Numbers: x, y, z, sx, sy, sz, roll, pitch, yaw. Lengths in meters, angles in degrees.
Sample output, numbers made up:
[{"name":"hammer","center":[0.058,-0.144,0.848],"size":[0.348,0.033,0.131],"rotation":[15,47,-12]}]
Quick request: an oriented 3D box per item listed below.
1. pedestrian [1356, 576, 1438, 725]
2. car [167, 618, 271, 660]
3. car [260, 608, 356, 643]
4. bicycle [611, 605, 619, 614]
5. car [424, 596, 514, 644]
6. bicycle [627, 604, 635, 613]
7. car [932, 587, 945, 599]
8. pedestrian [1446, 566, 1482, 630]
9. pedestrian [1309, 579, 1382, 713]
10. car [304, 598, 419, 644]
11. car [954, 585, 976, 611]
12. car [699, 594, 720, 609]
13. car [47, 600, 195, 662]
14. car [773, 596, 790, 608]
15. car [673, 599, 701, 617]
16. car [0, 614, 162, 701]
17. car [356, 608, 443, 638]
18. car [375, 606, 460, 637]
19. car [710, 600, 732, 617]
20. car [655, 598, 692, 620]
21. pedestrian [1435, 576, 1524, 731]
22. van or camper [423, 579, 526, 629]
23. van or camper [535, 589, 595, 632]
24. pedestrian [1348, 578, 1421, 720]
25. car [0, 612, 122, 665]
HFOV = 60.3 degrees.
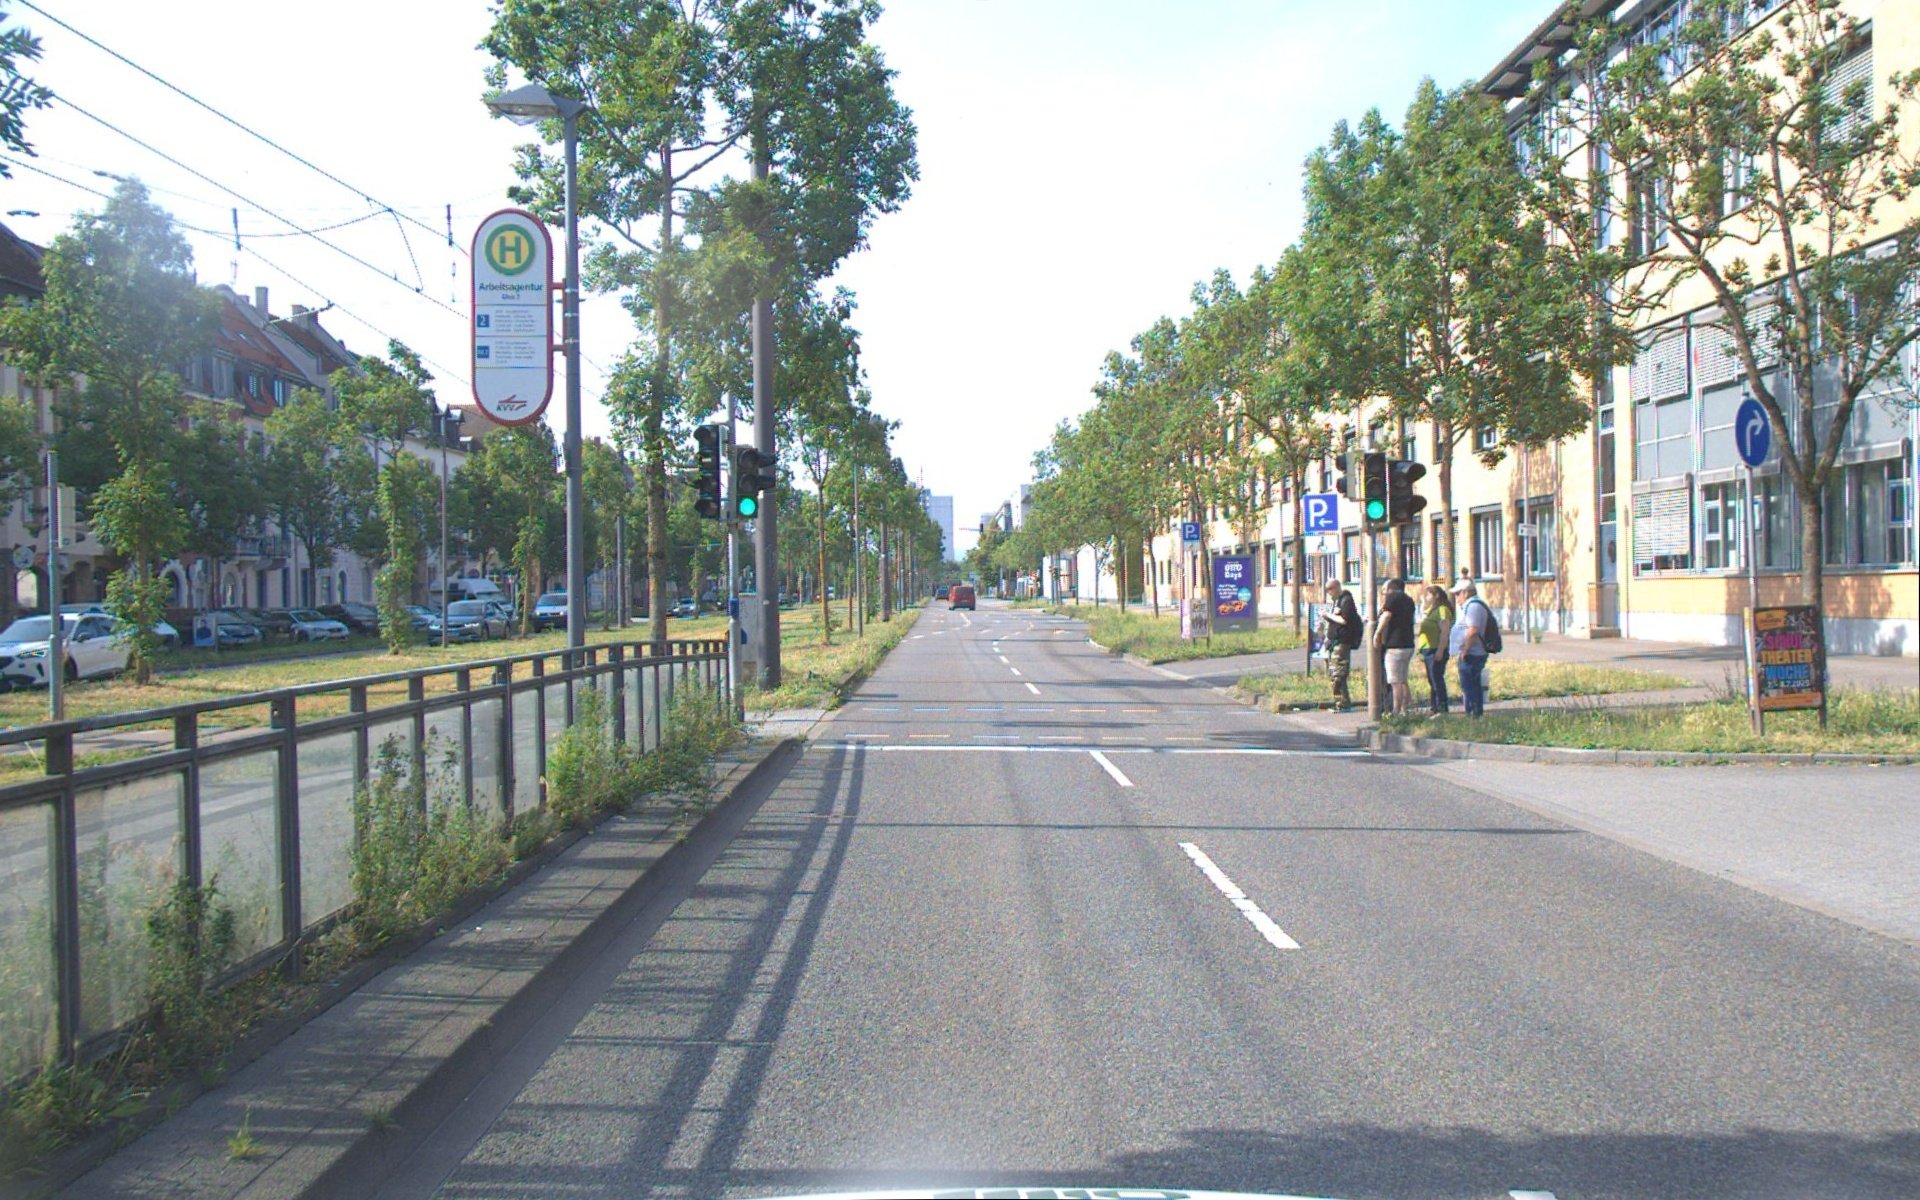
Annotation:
[{"name":"pedestrian","center":[5.123,0.581,19.419],"size":[0.691,1.675,0.689],"rotation":[-3,0,-3]},{"name":"car","center":[-25.234,1.323,56.323],"size":[3.610,1.263,1.522],"rotation":[1,2,33]},{"name":"car","center":[-24.814,0.954,62.905],"size":[3.610,1.263,1.657],"rotation":[1,0,34]},{"name":"bicycle","center":[-31.921,0.842,153.038],"size":[0.428,0.803,1.946],"rotation":[1,0,-2]},{"name":"car","center":[-17.082,0.685,57.734],"size":[1.797,1.560,4.576],"rotation":[1,0,-1]},{"name":"bicycle","center":[-31.781,0.840,159.682],"size":[0.438,0.872,1.946],"rotation":[1,0,-2]},{"name":"car","center":[-2.767,-0.852,213.889],"size":[1.713,1.531,3.215],"rotation":[1,0,-1]},{"name":"pedestrian","center":[13.364,-0.050,43.858],"size":[0.682,1.685,0.773],"rotation":[1,-1,-1]},{"name":"pedestrian","center":[5.017,0.588,21.559],"size":[0.691,1.675,0.689],"rotation":[-3,0,-3]},{"name":"car","center":[-25.258,0.892,69.805],"size":[4.540,1.773,1.833],"rotation":[-2,0,24]},{"name":"car","center":[0.390,-0.143,129.845],"size":[1.712,2.049,3.215],"rotation":[1,0,0]},{"name":"car","center":[-29.180,0.125,192.885],"size":[1.953,1.657,4.773],"rotation":[1,0,-2]},{"name":"car","center":[-25.431,0.909,50.076],"size":[4.850,1.756,1.851],"rotation":[1,0,34]},{"name":"car","center":[-22.729,0.309,210.332],"size":[1.775,1.458,3.924],"rotation":[1,0,-2]},{"name":"car","center":[-24.060,0.712,145.798],"size":[1.909,1.485,4.645],"rotation":[1,0,-4]},{"name":"car","center":[-16.899,1.049,30.987],"size":[1.735,1.466,4.423],"rotation":[-3,0,-1]},{"name":"car","center":[-24.760,0.998,73.057],"size":[3.606,1.263,1.659],"rotation":[1,0,30]},{"name":"car","center":[-24.914,0.985,75.959],"size":[3.931,1.339,1.657],"rotation":[1,0,34]},{"name":"car","center":[-24.740,0.874,171.253],"size":[1.728,1.684,3.999],"rotation":[1,0,-1]},{"name":"car","center":[-22.503,0.700,130.053],"size":[1.952,1.658,5.380],"rotation":[1,0,0]},{"name":"pedestrian","center":[5.849,0.591,18.652],"size":[0.691,1.675,0.689],"rotation":[-3,0,-3]},{"name":"van or camper","center":[-26.341,0.207,89.663],"size":[5.803,2.618,2.192],"rotation":[1,0,34]},{"name":"van or camper","center":[-20.248,0.528,84.966],"size":[1.912,2.134,5.351],"rotation":[1,0,-1]},{"name":"pedestrian","center":[5.180,0.586,20.216],"size":[0.622,1.675,0.608],"rotation":[-3,0,-5]},{"name":"car","center":[-26.112,1.070,47.241],"size":[4.603,1.372,1.851],"rotation":[1,0,34]}]
